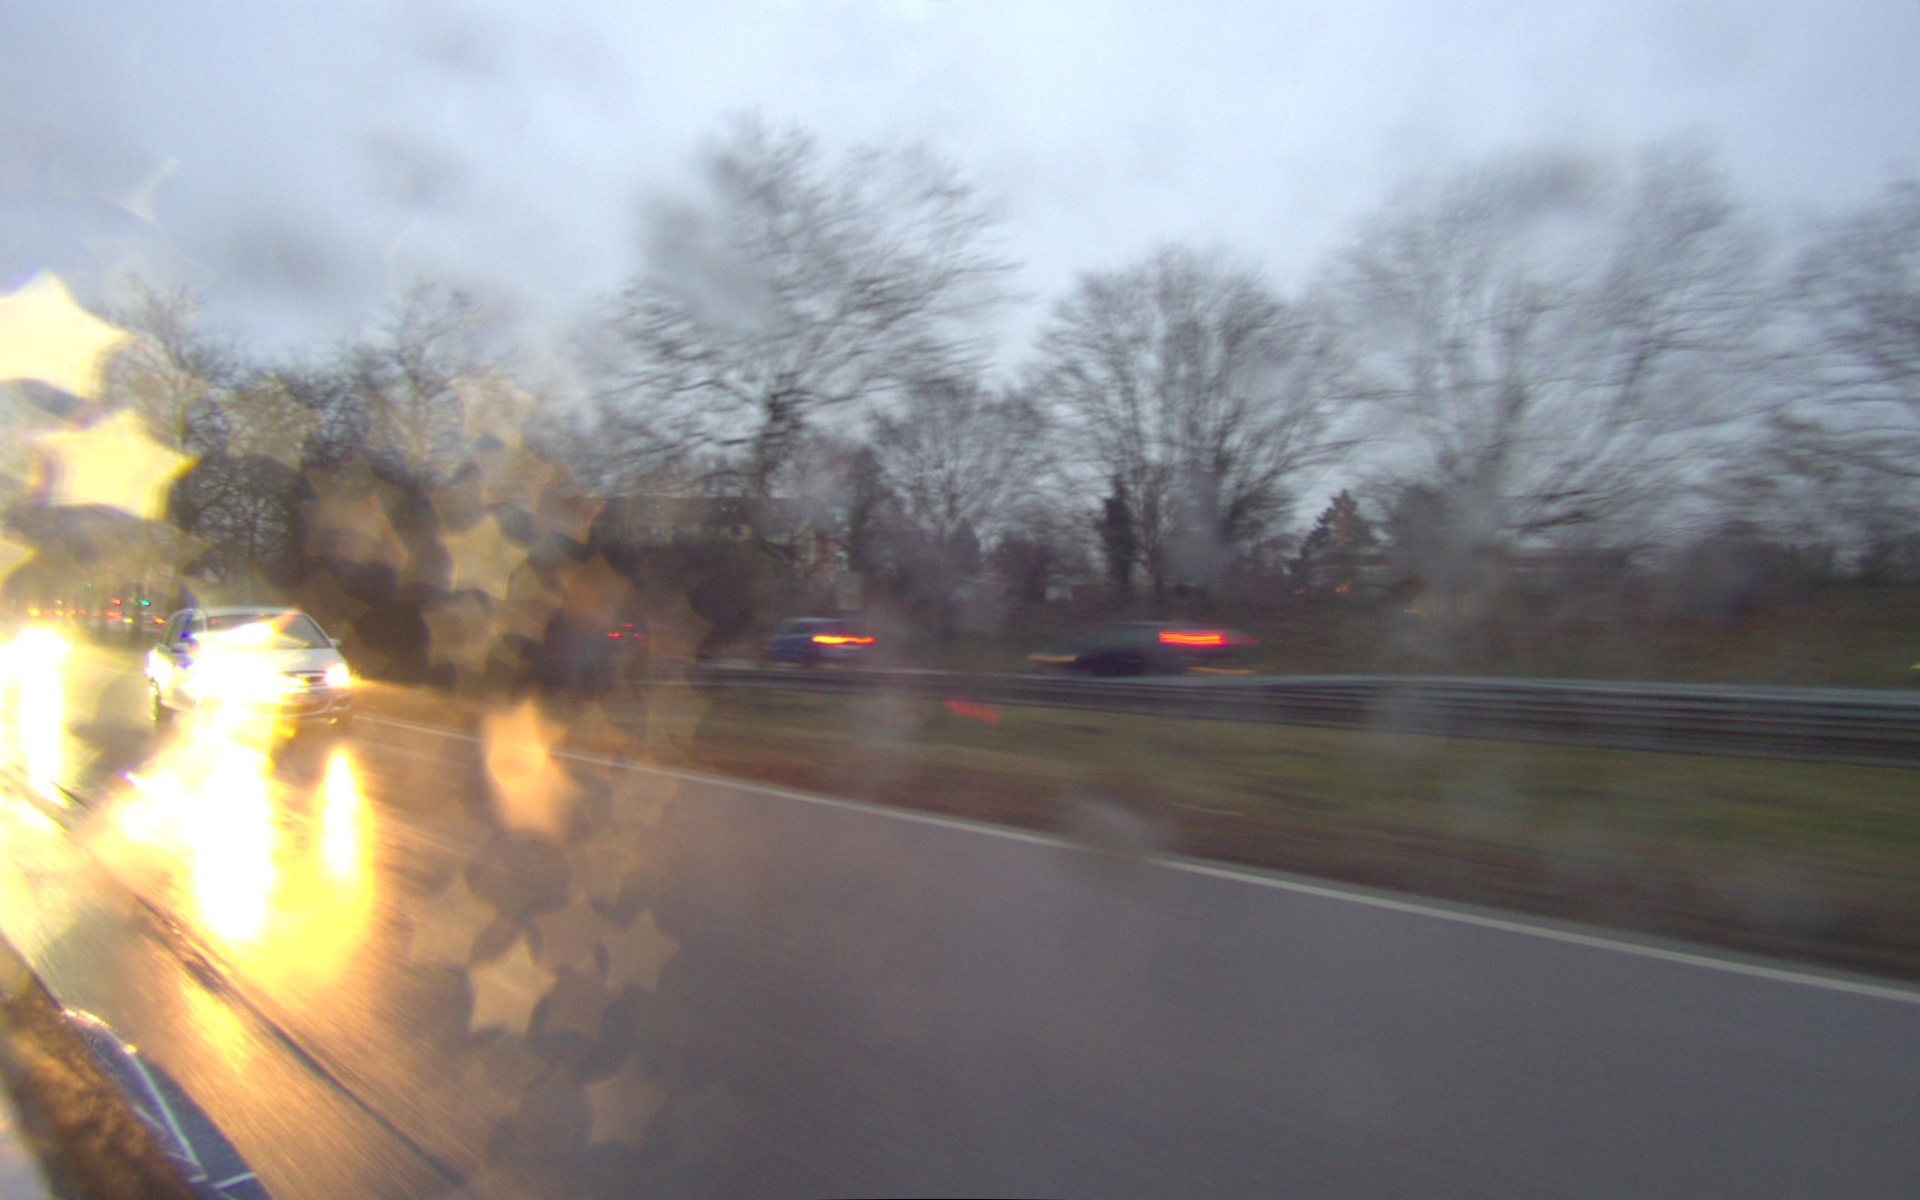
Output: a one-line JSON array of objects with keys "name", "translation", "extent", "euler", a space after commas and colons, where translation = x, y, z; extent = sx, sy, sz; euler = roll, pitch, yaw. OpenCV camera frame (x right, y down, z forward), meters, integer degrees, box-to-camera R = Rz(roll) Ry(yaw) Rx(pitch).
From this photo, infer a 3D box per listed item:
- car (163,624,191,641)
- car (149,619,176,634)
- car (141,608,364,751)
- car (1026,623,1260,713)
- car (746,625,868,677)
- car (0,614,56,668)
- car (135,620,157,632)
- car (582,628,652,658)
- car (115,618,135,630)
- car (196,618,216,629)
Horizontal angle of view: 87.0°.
[{"name": "car", "translation": [-77.385, 3.177, 100.000], "extent": [3.982, 1.694, 1.599], "euler": [-1, -2, 44]}, {"name": "car", "translation": [-88.055, 2.926, 111.787], "extent": [4.379, 1.545, 1.763], "euler": [0, -2, 44]}, {"name": "car", "translation": [-9.546, 0.930, 13.521], "extent": [1.741, 1.611, 4.167], "euler": [2, -2, -45]}, {"name": "car", "translation": [3.535, 1.258, 20.126], "extent": [1.763, 1.545, 4.381], "euler": [2, -2, -44]}, {"name": "car", "translation": [-5.238, 1.680, 34.218], "extent": [4.599, 1.577, 1.630], "euler": [0, -2, 44]}, {"name": "car", "translation": [-29.476, 1.227, 31.173], "extent": [4.145, 1.542, 2.000], "euler": [0, -2, 42]}, {"name": "car", "translation": [-98.495, 3.135, 122.477], "extent": [3.958, 1.364, 1.630], "euler": [0, -2, 44]}, {"name": "car", "translation": [-16.868, 2.098, 49.670], "extent": [3.958, 1.364, 1.630], "euler": [0, -2, 44]}, {"name": "car", "translation": [-109.254, 3.150, 132.430], "extent": [3.958, 1.511, 1.630], "euler": [0, -2, 44]}, {"name": "car", "translation": [-98.014, 3.047, 131.528], "extent": [1.726, 1.405, 4.307], "euler": [2, -2, -40]}]
